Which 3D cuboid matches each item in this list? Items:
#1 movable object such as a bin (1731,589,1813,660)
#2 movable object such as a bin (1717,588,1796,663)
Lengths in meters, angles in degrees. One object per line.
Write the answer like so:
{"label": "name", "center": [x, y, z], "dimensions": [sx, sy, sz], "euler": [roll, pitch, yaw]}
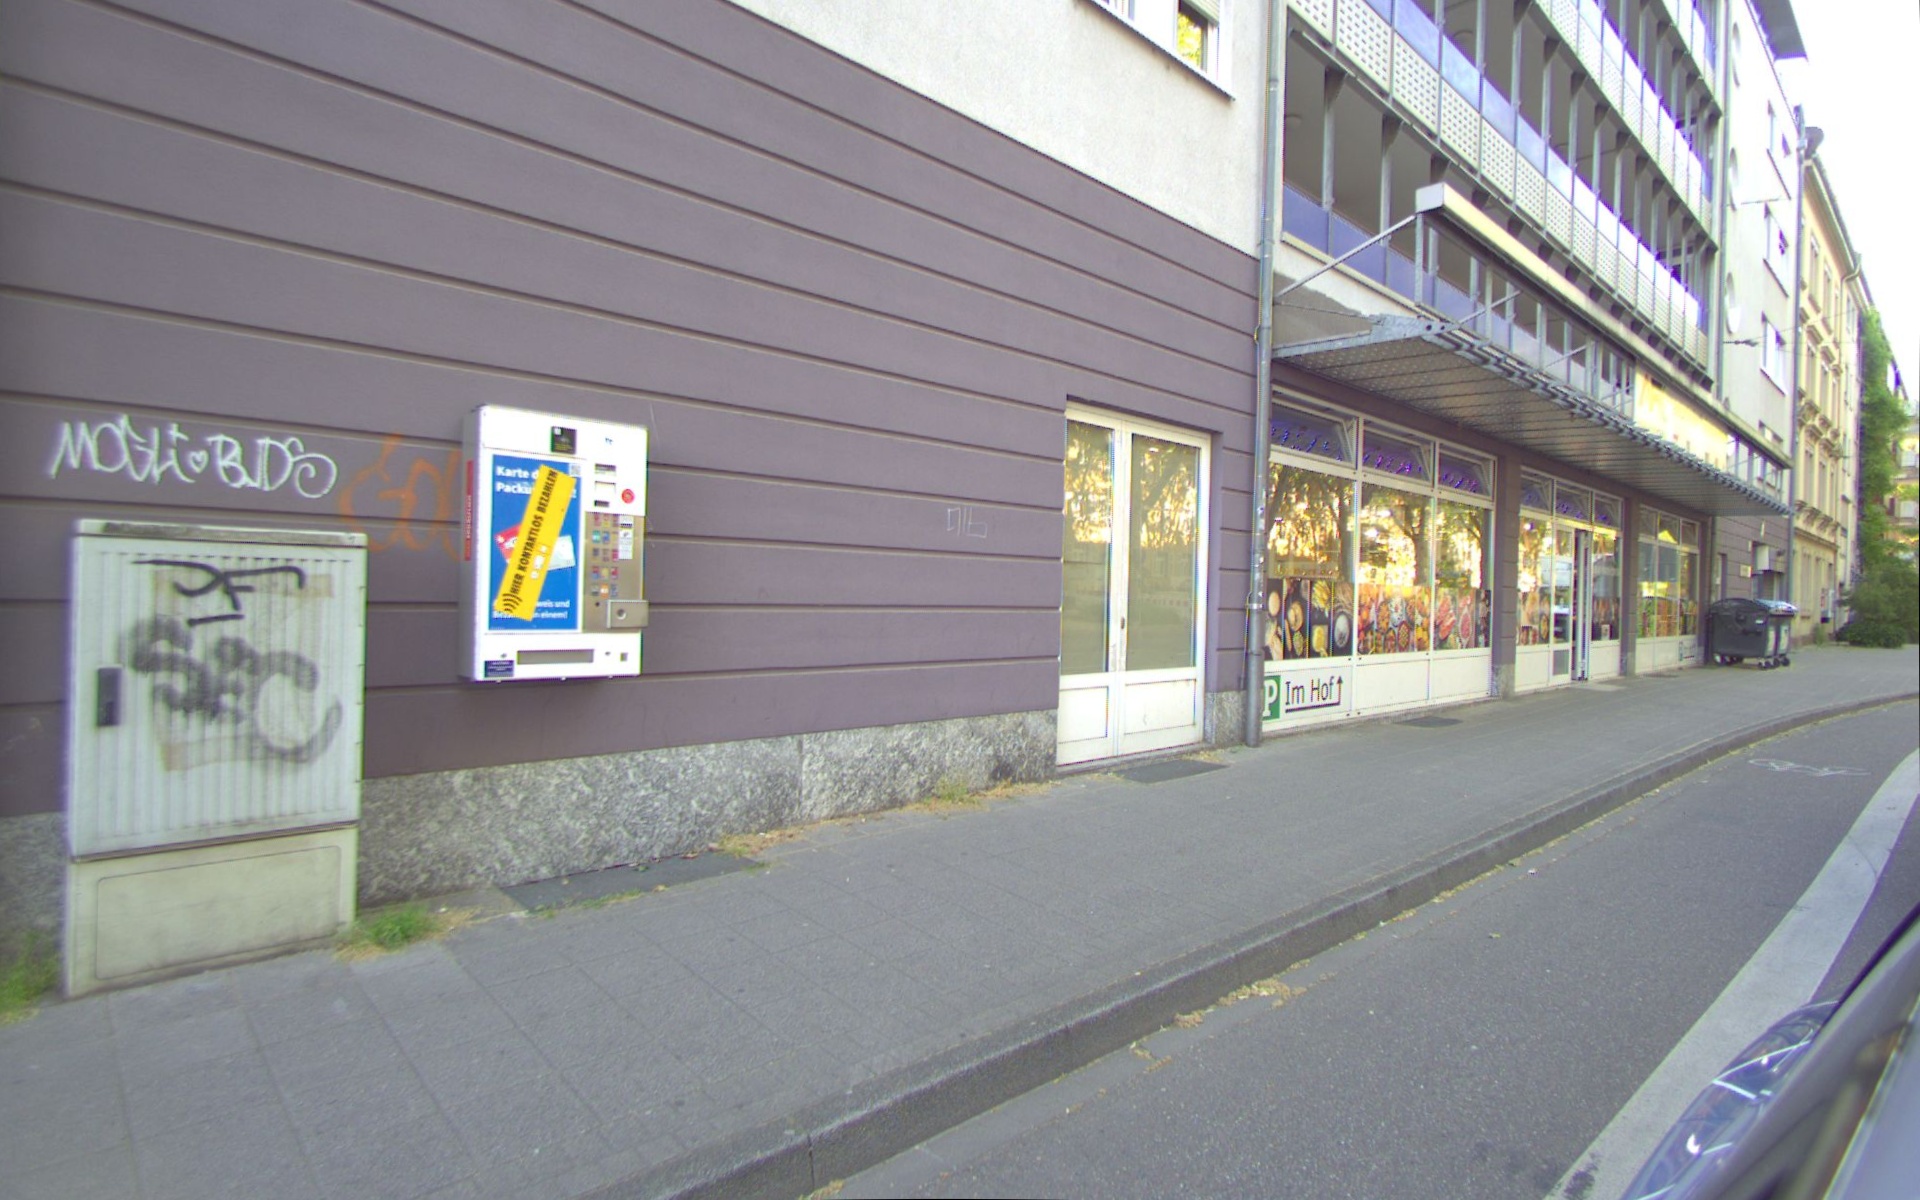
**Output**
{"label": "movable object such as a bin", "center": [17.783, 0.516, 22.162], "dimensions": [1.282, 1.464, 1.123], "euler": [1, 1, -38]}
{"label": "movable object such as a bin", "center": [16.434, 0.495, 20.874], "dimensions": [1.274, 1.465, 1.068], "euler": [1, 1, -42]}
